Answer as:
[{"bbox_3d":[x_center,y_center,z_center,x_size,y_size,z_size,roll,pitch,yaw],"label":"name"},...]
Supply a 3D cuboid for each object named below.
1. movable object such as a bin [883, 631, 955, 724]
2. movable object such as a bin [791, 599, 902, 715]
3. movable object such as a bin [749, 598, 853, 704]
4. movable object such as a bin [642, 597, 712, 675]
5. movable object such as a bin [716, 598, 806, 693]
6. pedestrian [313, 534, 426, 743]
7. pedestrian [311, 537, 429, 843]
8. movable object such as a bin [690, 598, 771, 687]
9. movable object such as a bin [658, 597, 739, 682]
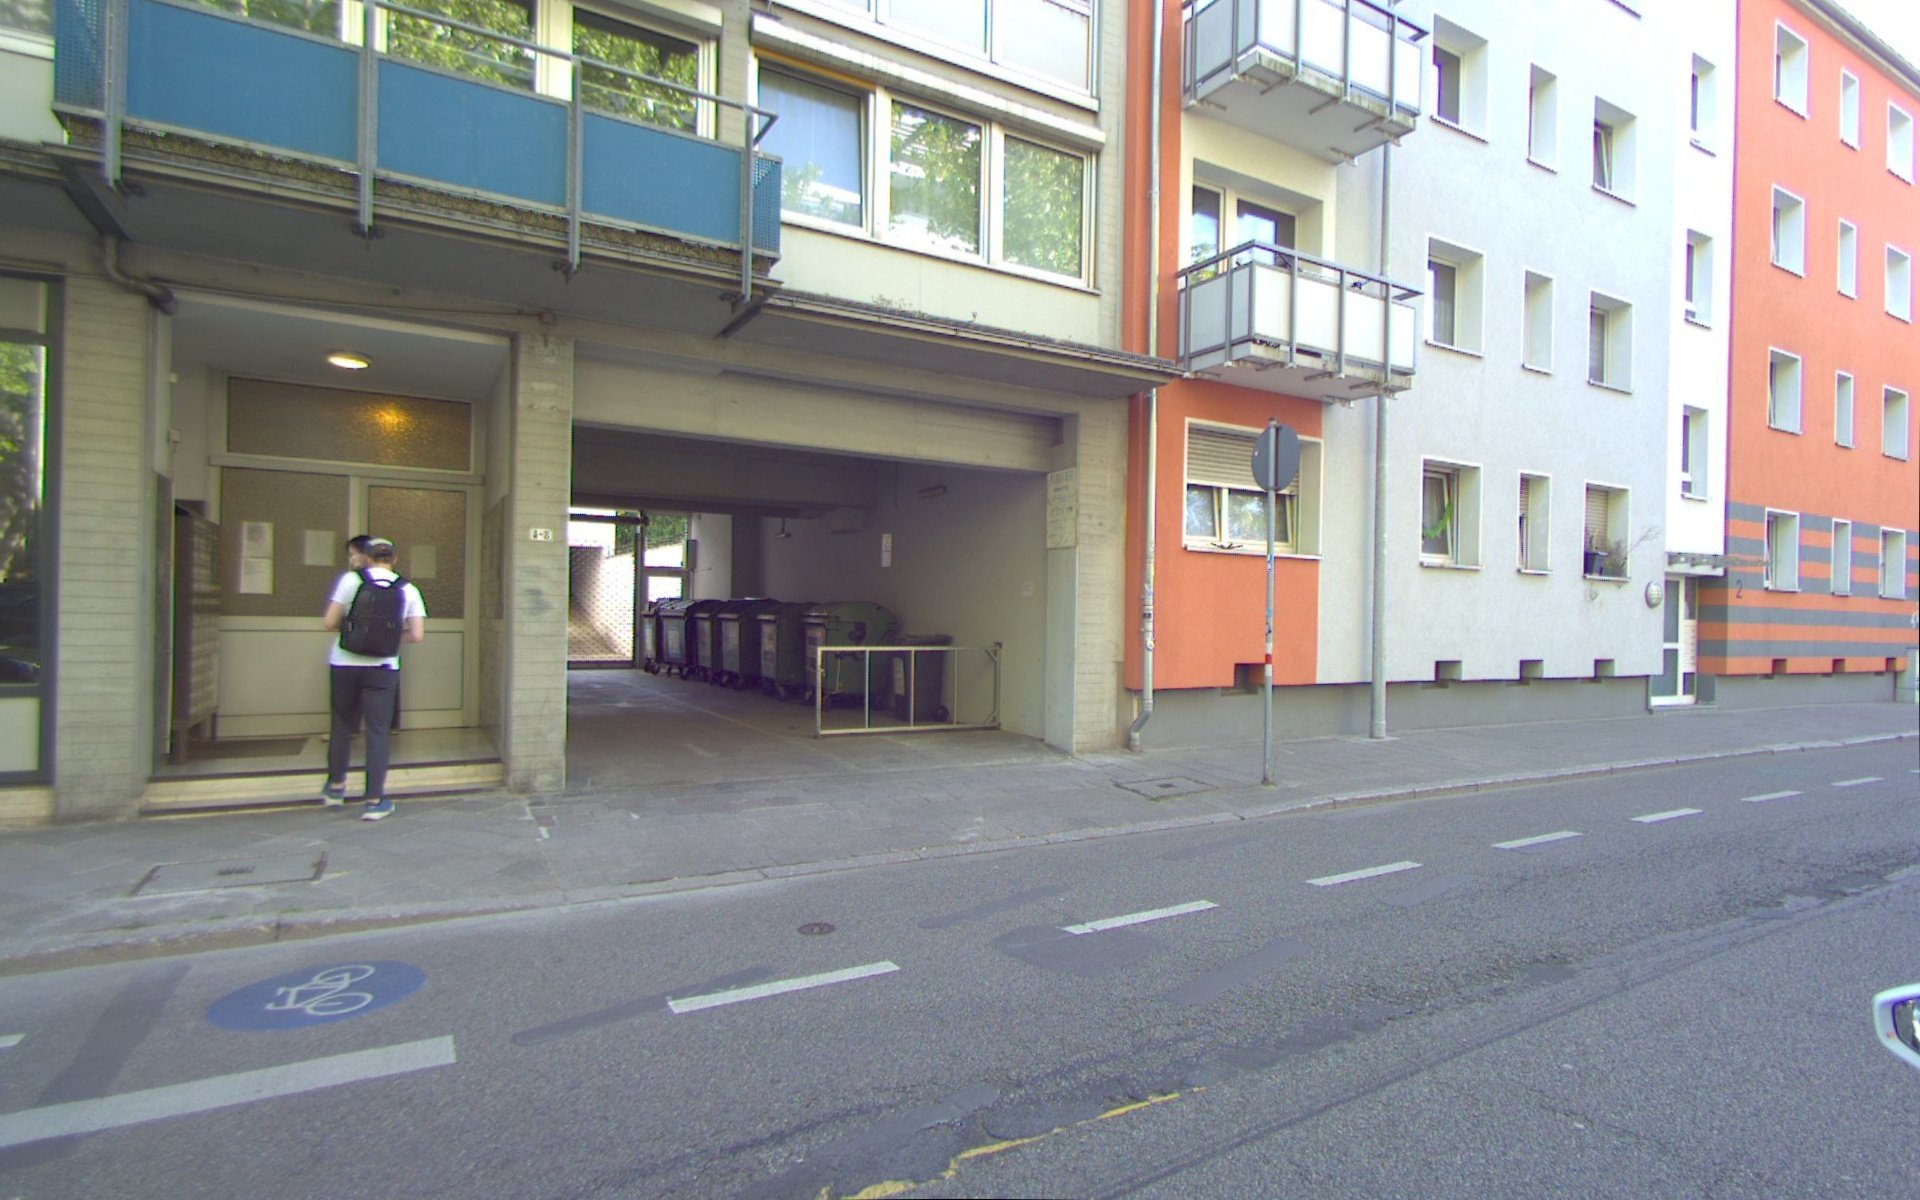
[{"bbox_3d":[-0.512,0.946,12.450,0.687,1.094,0.579,1,0,-30],"label":"movable object such as a bin"},{"bbox_3d":[-1.568,0.745,13.764,1.086,1.503,1.251,1,0,-30],"label":"movable object such as a bin"},{"bbox_3d":[-2.415,0.737,15.146,1.167,1.503,1.252,1,0,-30],"label":"movable object such as a bin"},{"bbox_3d":[-5.626,0.710,19.980,1.167,1.503,0.819,1,0,-30],"label":"movable object such as a bin"},{"bbox_3d":[-3.308,0.730,16.634,1.167,1.503,1.073,1,0,-30],"label":"movable object such as a bin"},{"bbox_3d":[-5.108,0.322,8.720,0.537,1.736,0.662,1,0,3],"label":"pedestrian"},{"bbox_3d":[-3.789,0.532,6.500,0.594,1.824,0.873,1,1,-28],"label":"pedestrian"},{"bbox_3d":[-4.037,0.728,17.636,1.080,1.503,1.159,1,0,-30],"label":"movable object such as a bin"},{"bbox_3d":[-4.873,0.717,18.697,1.167,1.503,1.215,1,0,-30],"label":"movable object such as a bin"}]
